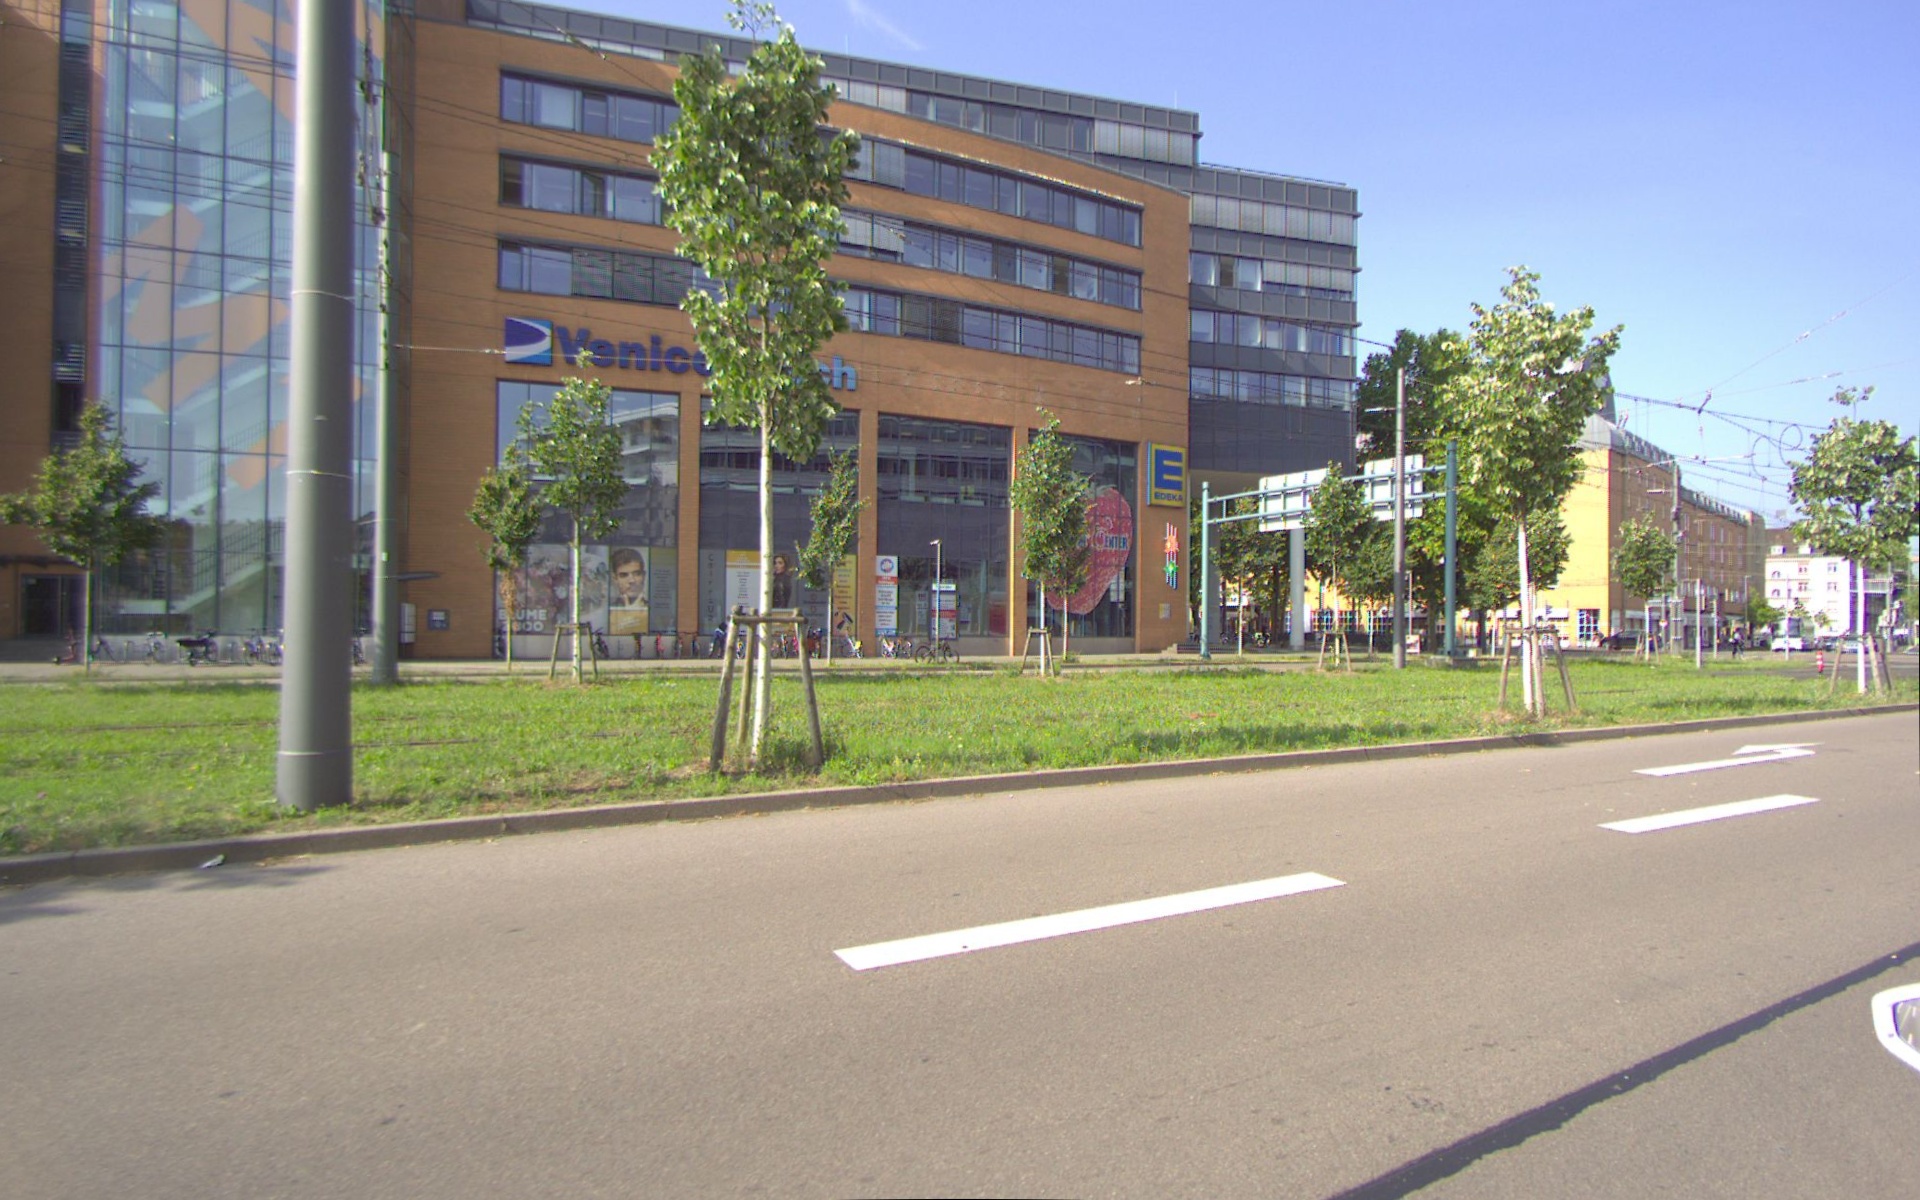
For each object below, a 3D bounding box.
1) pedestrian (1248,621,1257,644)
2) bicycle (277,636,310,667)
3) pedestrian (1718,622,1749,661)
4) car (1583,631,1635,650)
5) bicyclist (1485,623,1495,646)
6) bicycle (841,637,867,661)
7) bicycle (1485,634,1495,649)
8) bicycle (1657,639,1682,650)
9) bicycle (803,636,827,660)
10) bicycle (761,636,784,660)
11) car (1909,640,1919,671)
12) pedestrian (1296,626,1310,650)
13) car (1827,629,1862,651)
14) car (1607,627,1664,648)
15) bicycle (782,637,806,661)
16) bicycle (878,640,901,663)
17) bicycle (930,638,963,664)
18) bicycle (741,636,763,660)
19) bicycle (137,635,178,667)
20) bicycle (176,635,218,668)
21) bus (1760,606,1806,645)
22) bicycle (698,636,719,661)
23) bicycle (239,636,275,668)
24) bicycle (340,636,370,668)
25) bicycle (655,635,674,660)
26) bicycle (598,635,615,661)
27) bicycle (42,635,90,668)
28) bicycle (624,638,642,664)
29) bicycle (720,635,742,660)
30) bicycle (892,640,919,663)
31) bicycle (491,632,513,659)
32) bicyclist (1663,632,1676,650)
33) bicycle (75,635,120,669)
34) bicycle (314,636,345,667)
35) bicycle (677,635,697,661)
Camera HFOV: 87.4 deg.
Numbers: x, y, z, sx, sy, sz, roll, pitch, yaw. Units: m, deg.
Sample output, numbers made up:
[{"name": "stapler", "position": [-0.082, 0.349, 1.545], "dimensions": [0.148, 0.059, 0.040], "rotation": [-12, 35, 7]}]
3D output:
[{"name": "pedestrian", "position": [26.267, 2.912, 90.164], "dimensions": [0.535, 2.040, 0.485], "rotation": [3, -2, -40]}, {"name": "bicycle", "position": [-21.152, 1.625, 31.907], "dimensions": [0.404, 0.952, 1.578], "rotation": [1, -1, -16]}, {"name": "pedestrian", "position": [41.876, 2.232, 54.386], "dimensions": [0.769, 2.040, 1.146], "rotation": [3, -2, -38]}, {"name": "car", "position": [59.434, 3.682, 92.048], "dimensions": [1.842, 1.645, 3.602], "rotation": [1, -2, -25]}, {"name": "bicyclist", "position": [43.087, 2.813, 81.650], "dimensions": [0.655, 1.769, 0.965], "rotation": [1, -2, 32]}, {"name": "bicycle", "position": [-4.472, 2.057, 42.239], "dimensions": [0.565, 0.934, 2.045], "rotation": [1, -1, -21]}, {"name": "bicycle", "position": [43.129, 3.373, 81.722], "dimensions": [0.540, 1.222, 2.283], "rotation": [1, -2, 31]}, {"name": "bicycle", "position": [69.264, 4.341, 98.038], "dimensions": [1.938, 0.982, 0.418], "rotation": [0, -3, 43]}, {"name": "bicycle", "position": [-6.054, 2.001, 41.769], "dimensions": [0.565, 0.934, 2.045], "rotation": [1, -1, -21]}, {"name": "bicycle", "position": [-7.645, 1.960, 40.992], "dimensions": [0.565, 0.934, 2.045], "rotation": [1, -1, -21]}, {"name": "car", "position": [62.726, 3.558, 63.553], "dimensions": [1.959, 2.040, 4.003], "rotation": [2, -2, 9]}, {"name": "pedestrian", "position": [22.936, 2.533, 67.205], "dimensions": [0.652, 1.563, 0.617], "rotation": [1, -1, -14]}, {"name": "car", "position": [73.802, 3.330, 83.857], "dimensions": [1.662, 1.656, 4.378], "rotation": [-1, -1, 35]}, {"name": "car", "position": [58.062, 3.230, 86.415], "dimensions": [1.963, 1.700, 3.996], "rotation": [2, -2, -7]}, {"name": "bicycle", "position": [-6.858, 1.992, 41.387], "dimensions": [0.565, 0.934, 2.045], "rotation": [1, -1, -21]}, {"name": "bicycle", "position": [-3.028, 2.178, 42.980], "dimensions": [0.375, 0.934, 2.045], "rotation": [1, -1, -21]}, {"name": "bicycle", "position": [-0.520, 1.937, 38.484], "dimensions": [0.699, 0.919, 1.672], "rotation": [2, -1, -22]}, {"name": "bicycle", "position": [-8.424, 1.933, 40.659], "dimensions": [0.565, 0.934, 2.045], "rotation": [1, -1, -21]}, {"name": "bicycle", "position": [-24.559, 1.551, 30.764], "dimensions": [0.404, 0.952, 1.578], "rotation": [1, -1, -16]}, {"name": "bicycle", "position": [-23.247, 1.572, 30.637], "dimensions": [0.465, 0.952, 1.578], "rotation": [1, -1, -16]}, {"name": "bus", "position": [87.416, 2.747, 106.585], "dimensions": [2.718, 3.973, 12.141], "rotation": [-1, -2, 44]}, {"name": "bicycle", "position": [-10.020, 1.912, 39.927], "dimensions": [0.565, 0.934, 2.045], "rotation": [1, -1, -21]}, {"name": "bicycle", "position": [-22.039, 1.620, 31.511], "dimensions": [0.404, 0.952, 1.578], "rotation": [1, -1, -16]}, {"name": "bicycle", "position": [-18.983, 1.633, 31.545], "dimensions": [0.404, 0.952, 1.578], "rotation": [1, -1, -16]}, {"name": "bicycle", "position": [-11.560, 1.842, 39.234], "dimensions": [0.565, 0.934, 2.045], "rotation": [1, -1, -21]}, {"name": "bicycle", "position": [-13.513, 1.812, 38.378], "dimensions": [0.565, 0.934, 2.045], "rotation": [1, -1, -21]}, {"name": "bicycle", "position": [-26.609, 1.524, 29.914], "dimensions": [0.404, 0.952, 1.578], "rotation": [1, -1, -16]}, {"name": "bicycle", "position": [-12.641, 1.958, 38.809], "dimensions": [0.565, 0.934, 2.045], "rotation": [1, -1, -21]}, {"name": "bicycle", "position": [-9.181, 1.905, 40.268], "dimensions": [0.565, 0.934, 2.045], "rotation": [1, -1, -21]}, {"name": "bicycle", "position": [-2.370, 2.212, 43.288], "dimensions": [0.565, 0.934, 2.045], "rotation": [1, -1, -21]}, {"name": "bicycle", "position": [-16.896, 1.665, 37.095], "dimensions": [0.565, 0.934, 2.045], "rotation": [1, -1, -21]}, {"name": "bicyclist", "position": [69.247, 3.973, 98.073], "dimensions": [0.976, 1.717, 0.667], "rotation": [0, -3, 43]}, {"name": "bicycle", "position": [-25.897, 1.547, 30.179], "dimensions": [0.404, 0.952, 1.578], "rotation": [1, -1, -16]}, {"name": "bicycle", "position": [-20.062, 1.635, 31.981], "dimensions": [0.404, 0.952, 1.578], "rotation": [1, -1, -16]}, {"name": "bicycle", "position": [-10.786, 1.883, 39.612], "dimensions": [0.565, 0.934, 2.045], "rotation": [1, -1, -21]}]
